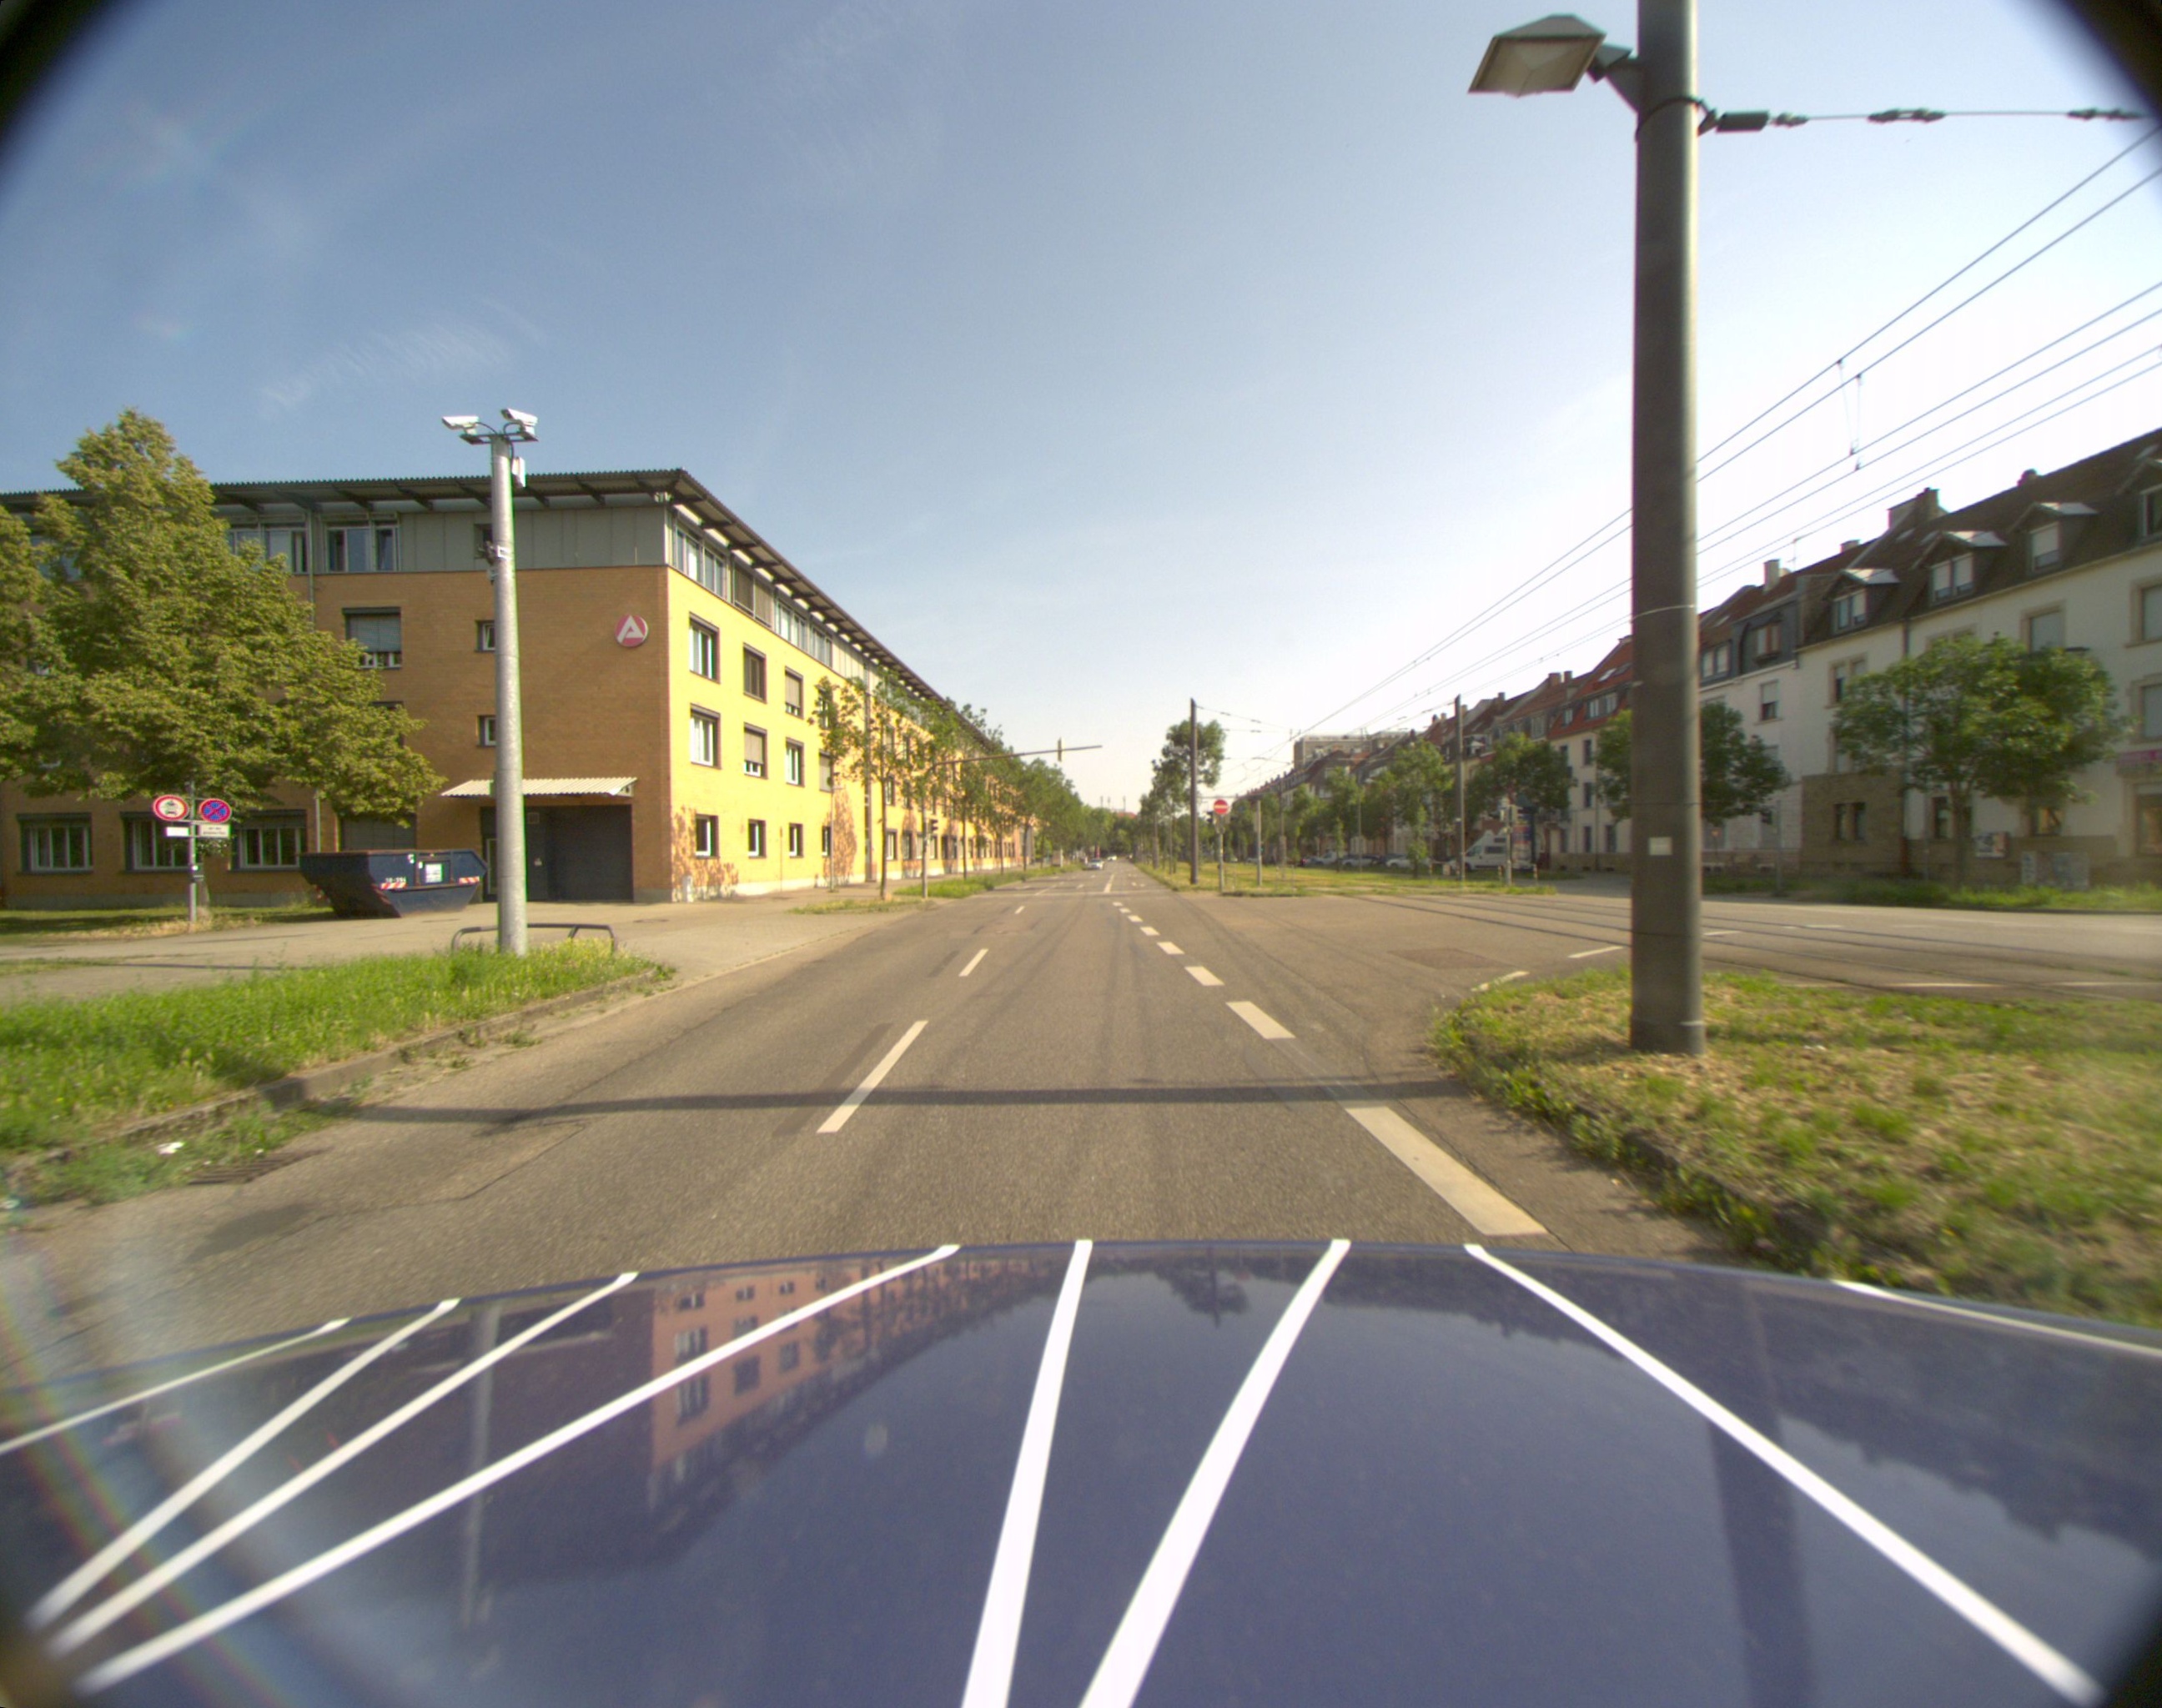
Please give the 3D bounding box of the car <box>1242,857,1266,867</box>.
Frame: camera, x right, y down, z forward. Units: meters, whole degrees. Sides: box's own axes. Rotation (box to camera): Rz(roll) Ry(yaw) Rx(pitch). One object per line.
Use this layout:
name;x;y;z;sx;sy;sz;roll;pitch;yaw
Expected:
car;33.069;1.536;145.268;3.989;1.716;2.004;-3;1;38

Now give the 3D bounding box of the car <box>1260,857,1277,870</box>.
car;26.581;1.365;107.657;1.768;1.646;4.001;-3;1;6

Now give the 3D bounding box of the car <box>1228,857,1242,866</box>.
car;28.916;1.430;142.793;1.951;1.451;4.650;-3;0;5

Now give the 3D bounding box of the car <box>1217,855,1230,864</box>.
car;29.921;1.174;159.406;1.998;1.620;5.381;-3;0;4

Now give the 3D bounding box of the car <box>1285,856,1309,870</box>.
car;25.726;1.081;90.673;1.816;1.425;3.926;-3;1;2

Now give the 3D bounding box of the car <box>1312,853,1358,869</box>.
car;31.349;0.850;93.943;4.939;1.716;1.860;-3;1;38

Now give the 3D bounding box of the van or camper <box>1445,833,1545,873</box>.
van or camper;29.511;-0.021;54.306;5.910;2.558;2.203;-3;1;38

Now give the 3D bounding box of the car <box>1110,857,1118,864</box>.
car;8.468;1.639;195.095;1.692;1.476;3.366;-3;1;2

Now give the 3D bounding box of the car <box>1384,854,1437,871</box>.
car;29.355;0.788;67.715;4.004;1.309;1.665;-3;1;38

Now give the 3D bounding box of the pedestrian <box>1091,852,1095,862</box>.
pedestrian;2.059;0.549;125.857;0.636;1.637;0.609;1;1;-1

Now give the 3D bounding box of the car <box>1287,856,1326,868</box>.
car;31.742;1.110;107.060;4.765;1.477;2.027;-3;1;35

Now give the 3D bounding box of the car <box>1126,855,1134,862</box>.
car;14.344;1.226;222.707;1.998;2.002;4.001;-3;1;4

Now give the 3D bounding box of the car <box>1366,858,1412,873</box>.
car;28.945;1.123;71.478;3.677;1.234;1.665;-3;1;38

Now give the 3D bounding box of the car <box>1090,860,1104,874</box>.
car;1.904;1.505;90.211;1.628;1.476;3.366;-3;1;2

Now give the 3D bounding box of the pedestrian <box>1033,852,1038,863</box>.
pedestrian;-7.134;0.493;117.985;0.697;1.647;0.773;0;1;3

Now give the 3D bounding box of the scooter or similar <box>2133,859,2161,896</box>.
scooter or similar;32.545;0.682;22.474;0.742;1.062;1.486;-3;1;-18

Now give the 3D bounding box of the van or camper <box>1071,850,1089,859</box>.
van or camper;-0.398;0.056;254.830;5.800;2.677;2.408;-3;1;0

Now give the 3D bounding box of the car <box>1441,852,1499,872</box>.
car;29.658;0.585;57.974;3.677;1.324;1.665;-3;1;38

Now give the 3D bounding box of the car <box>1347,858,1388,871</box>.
car;30.406;1.117;80.635;3.677;1.234;1.665;-3;1;38

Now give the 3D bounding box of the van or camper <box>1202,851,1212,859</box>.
van or camper;34.420;0.192;207.364;1.956;2.085;5.353;-3;1;3
